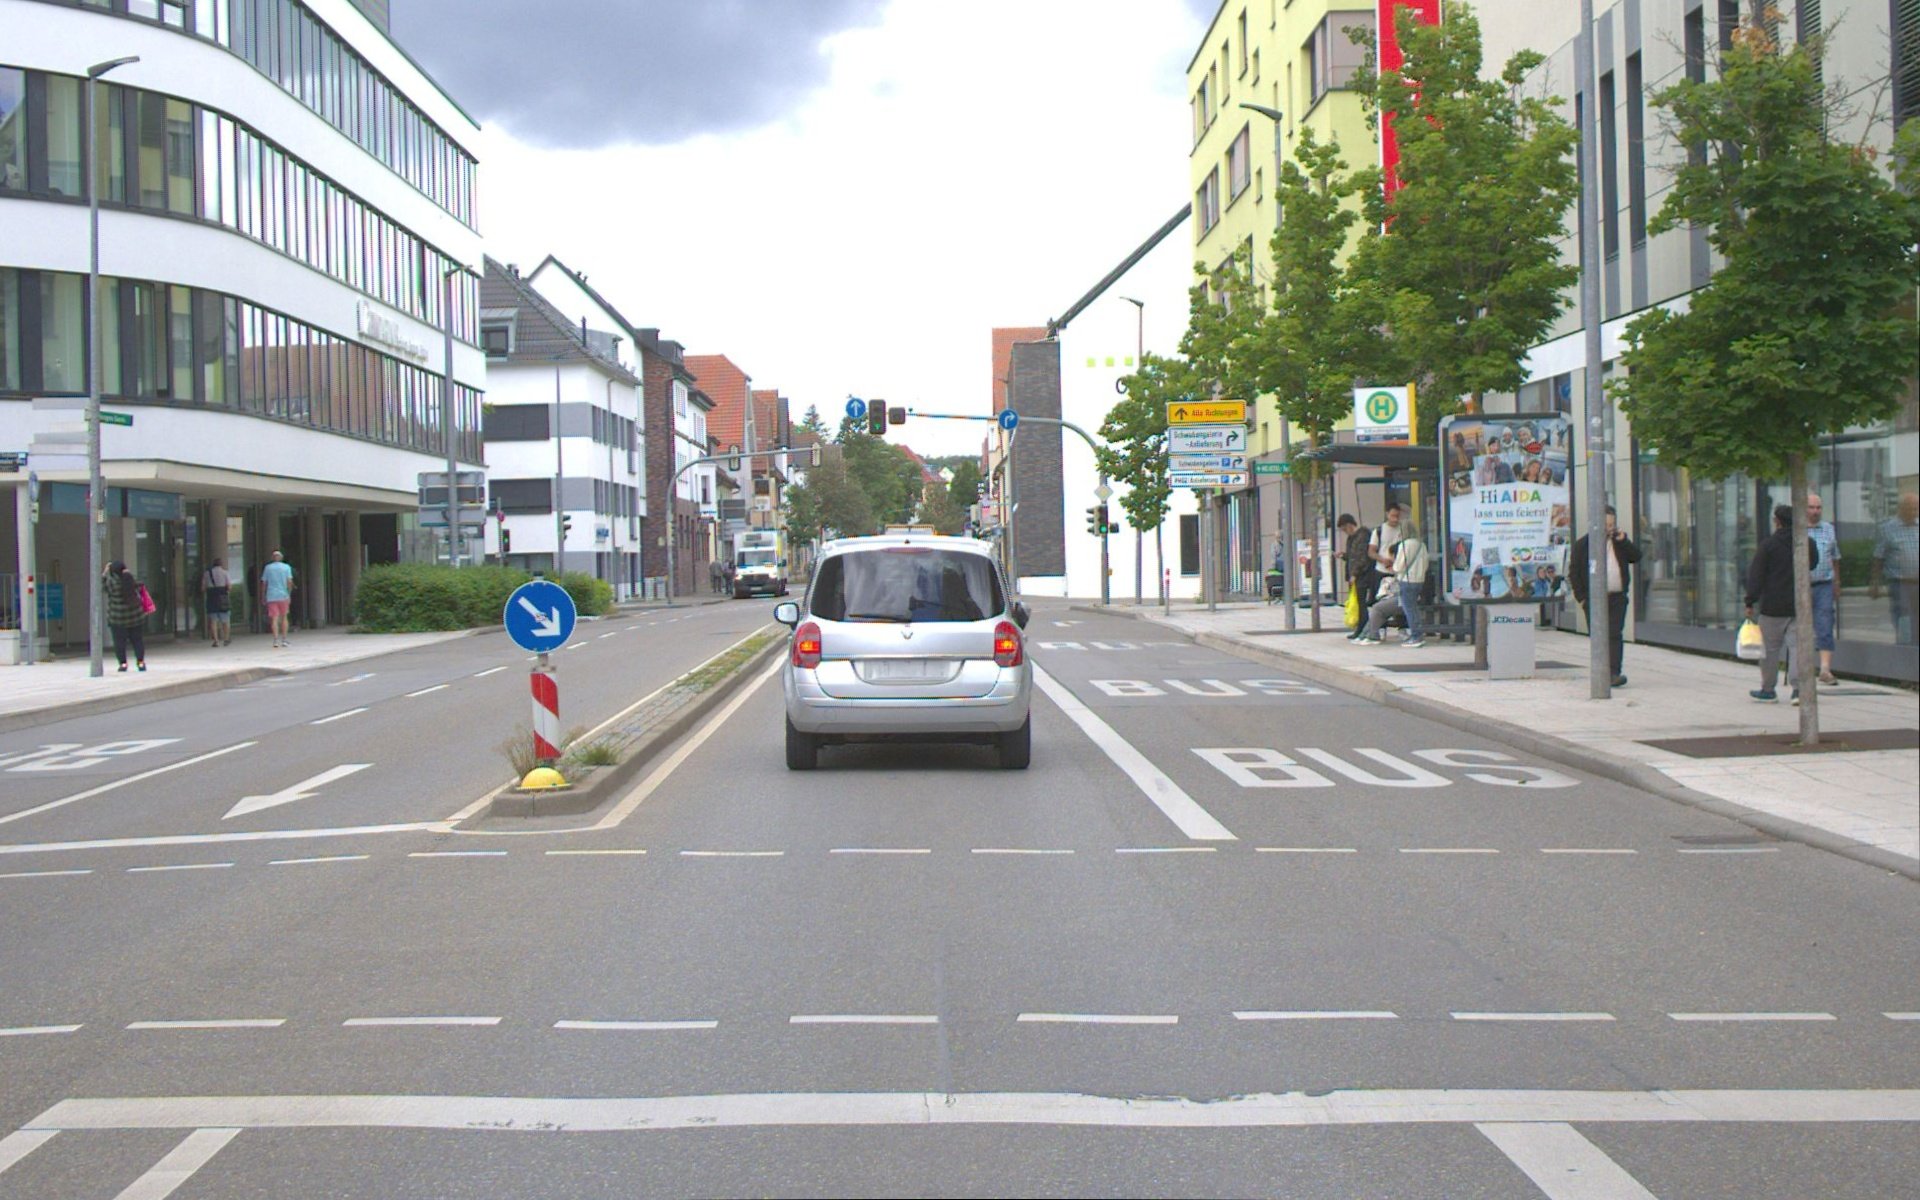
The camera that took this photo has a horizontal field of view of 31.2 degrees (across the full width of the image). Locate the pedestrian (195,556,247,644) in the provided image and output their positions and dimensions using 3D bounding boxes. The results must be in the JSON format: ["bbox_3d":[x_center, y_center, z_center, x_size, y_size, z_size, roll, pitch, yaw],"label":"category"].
[{"bbox_3d":[-13.563,-0.002,63.127,0.730,1.607,0.931,0,1,1],"label":"pedestrian"}]

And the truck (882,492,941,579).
[{"bbox_3d":[-2.183,-2.936,156.470,2.595,3.844,6.849,-1,1,0],"label":"truck"}]

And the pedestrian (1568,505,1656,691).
[{"bbox_3d":[5.925,-0.022,31.259,0.655,1.663,0.614,-1,1,0],"label":"pedestrian"}]

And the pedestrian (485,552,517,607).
[{"bbox_3d":[-14.320,-0.643,107.266,0.881,1.664,0.814,-1,3,-2],"label":"pedestrian"}]

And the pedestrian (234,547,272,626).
[{"bbox_3d":[-15.782,-0.303,76.737,0.505,1.724,0.614,-1,1,31],"label":"pedestrian"}]

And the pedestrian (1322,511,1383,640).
[{"bbox_3d":[5.237,-0.327,45.851,0.721,1.678,0.732,-2,0,5],"label":"pedestrian"}]

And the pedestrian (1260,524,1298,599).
[{"bbox_3d":[6.919,-0.837,74.638,0.695,1.588,0.603,-2,1,-1],"label":"pedestrian"}]

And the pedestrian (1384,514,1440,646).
[{"bbox_3d":[5.536,-0.251,42.136,0.579,1.585,0.732,-2,0,5],"label":"pedestrian"}]

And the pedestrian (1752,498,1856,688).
[{"bbox_3d":[7.532,-0.064,30.715,0.744,1.663,0.614,-1,1,0],"label":"pedestrian"}]

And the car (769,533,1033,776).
[{"bbox_3d":[-0.415,0.328,24.388,1.706,1.573,4.000,1,1,-1],"label":"car"}]

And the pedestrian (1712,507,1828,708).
[{"bbox_3d":[6.571,0.055,27.927,0.740,1.603,0.715,-1,1,0],"label":"pedestrian"}]

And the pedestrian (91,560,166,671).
[{"bbox_3d":[-11.822,0.218,48.906,0.830,1.562,0.813,0,1,5],"label":"pedestrian"}]

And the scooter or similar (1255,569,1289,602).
[{"bbox_3d":[6.707,-0.308,73.912,0.592,0.670,0.824,-2,1,-1],"label":"scooter or similar"}]

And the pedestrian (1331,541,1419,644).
[{"bbox_3d":[5.240,-0.101,43.426,0.942,1.255,0.733,-2,0,-3],"label":"pedestrian"}]

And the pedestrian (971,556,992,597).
[{"bbox_3d":[0.951,-1.058,154.222,0.807,1.781,0.861,-4,1,0],"label":"pedestrian"}]

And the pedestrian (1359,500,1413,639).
[{"bbox_3d":[5.498,-0.394,44.406,0.579,1.763,0.856,-2,0,5],"label":"pedestrian"}]

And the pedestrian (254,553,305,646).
[{"bbox_3d":[-12.334,-0.021,62.326,0.730,1.668,0.931,0,1,1],"label":"pedestrian"}]

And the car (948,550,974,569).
[{"bbox_3d":[0.068,-3.041,255.546,1.812,1.349,4.000,-2,1,0],"label":"car"}]

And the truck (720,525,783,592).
[{"bbox_3d":[-9.385,-1.887,155.558,2.435,2.943,8.365,1,1,-1],"label":"truck"}]
